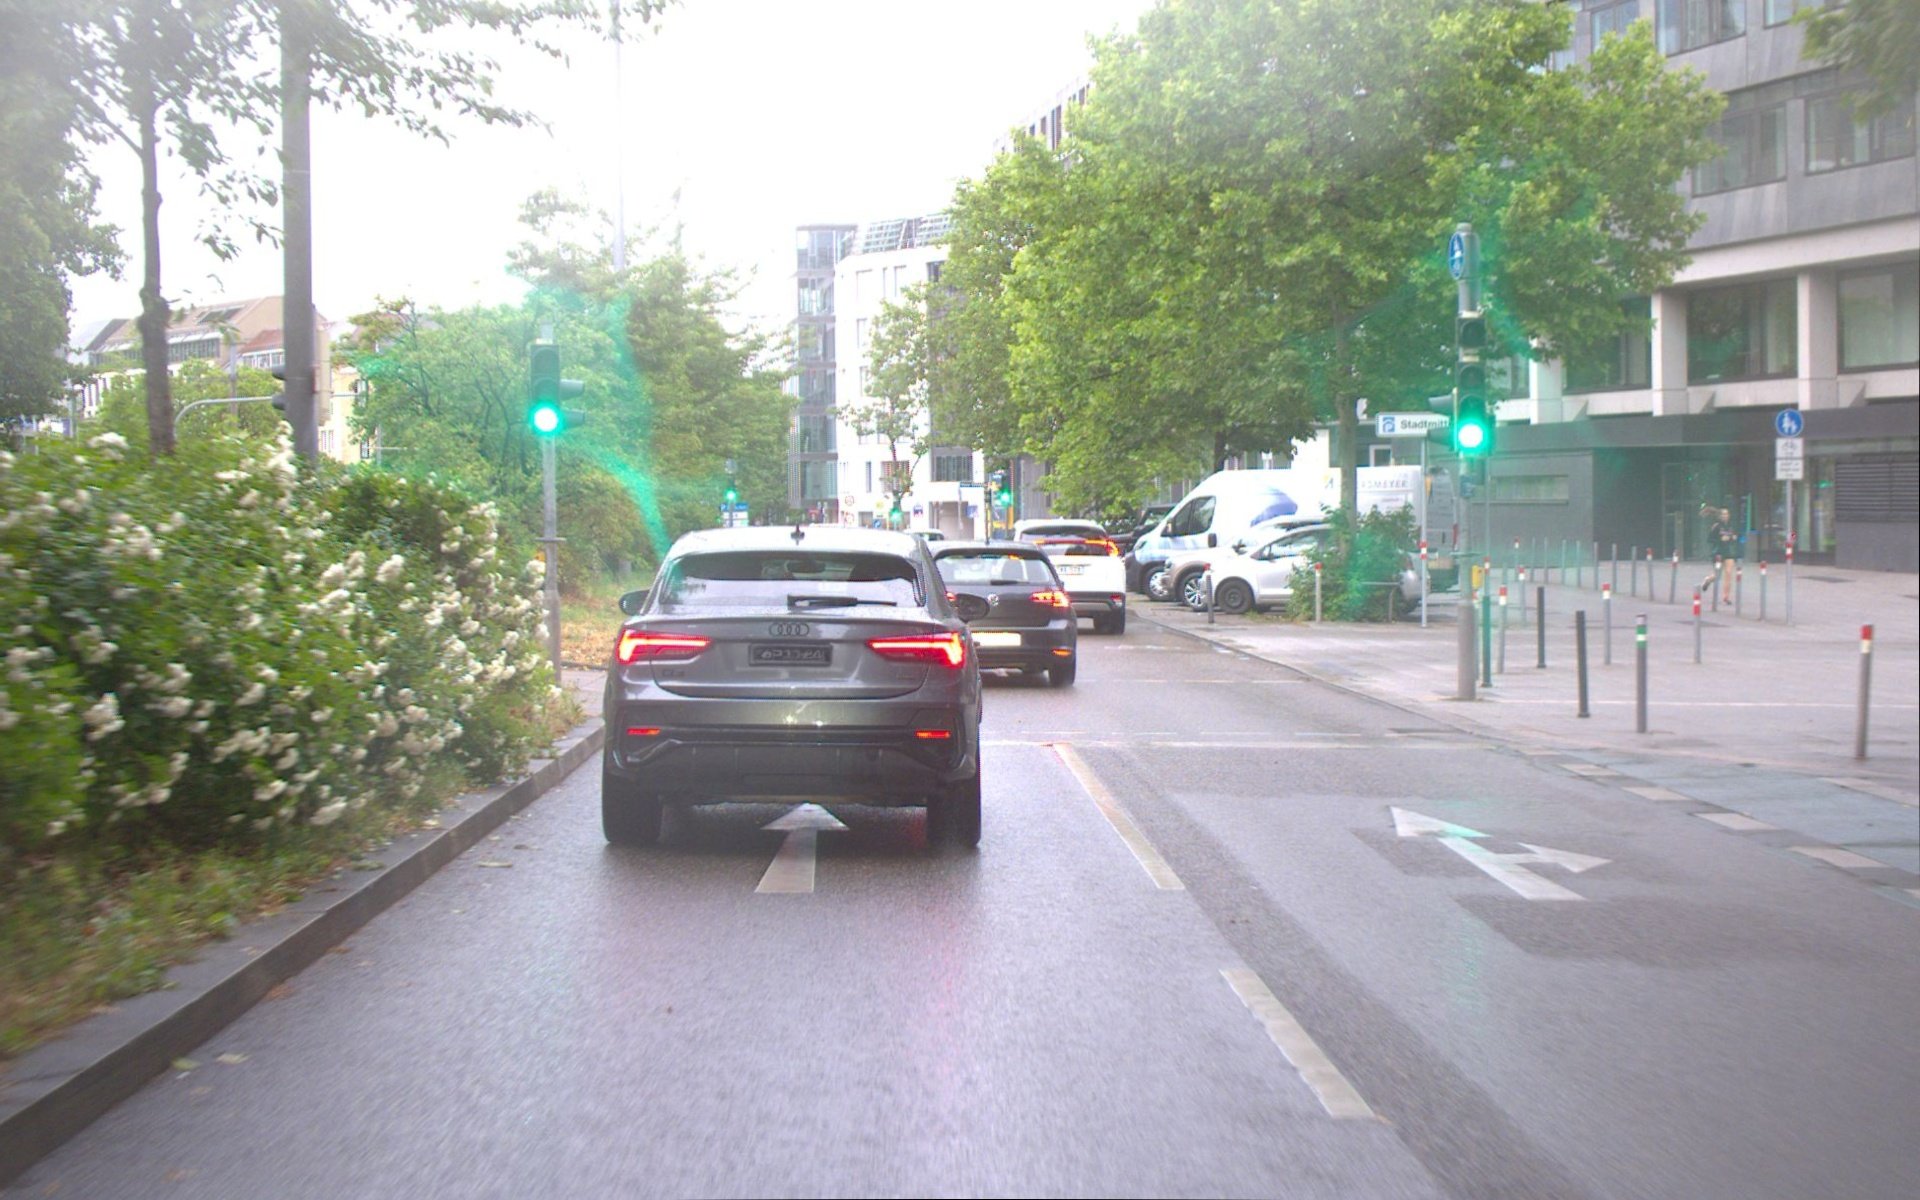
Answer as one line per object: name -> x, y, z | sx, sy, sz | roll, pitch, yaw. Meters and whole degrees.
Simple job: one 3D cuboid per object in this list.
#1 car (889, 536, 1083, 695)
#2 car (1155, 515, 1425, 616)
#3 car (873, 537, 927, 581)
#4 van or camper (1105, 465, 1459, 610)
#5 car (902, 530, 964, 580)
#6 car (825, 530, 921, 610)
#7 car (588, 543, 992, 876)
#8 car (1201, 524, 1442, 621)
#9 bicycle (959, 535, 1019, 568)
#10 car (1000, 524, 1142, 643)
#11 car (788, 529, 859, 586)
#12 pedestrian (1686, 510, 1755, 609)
car -> 0.210, 0.115, 34.934 | 1.849, 1.518, 4.039 | 0, 1, -1
car -> 5.674, -0.606, 59.151 | 4.262, 1.662, 1.816 | 1, 1, 25
car -> -2.087, -1.448, 120.077 | 1.849, 1.518, 4.039 | 0, 1, -1
van or camper -> 5.832, -1.125, 62.508 | 6.074, 2.549, 2.102 | 0, 1, 26
car -> -0.840, -1.386, 105.395 | 1.849, 1.518, 4.039 | 0, 1, -1
car -> -1.722, -0.615, 68.400 | 1.849, 1.518, 4.039 | 0, 1, -1
car -> -0.850, 0.473, 17.833 | 1.849, 1.518, 4.039 | 0, 1, -2
car -> 5.951, -0.468, 56.508 | 3.652, 1.542, 1.713 | 1, 1, 18
bicycle -> 1.162, -1.951, 138.905 | 2.337, 1.308, 0.710 | 0, 1, -8
car -> 1.586, -0.262, 50.325 | 1.849, 1.663, 4.039 | 0, 1, -1
car -> -3.702, -1.175, 93.824 | 1.849, 1.518, 4.039 | 0, 1, -1
pedestrian -> 13.259, -0.707, 59.945 | 0.805, 1.690, 1.188 | 1, 1, -6
